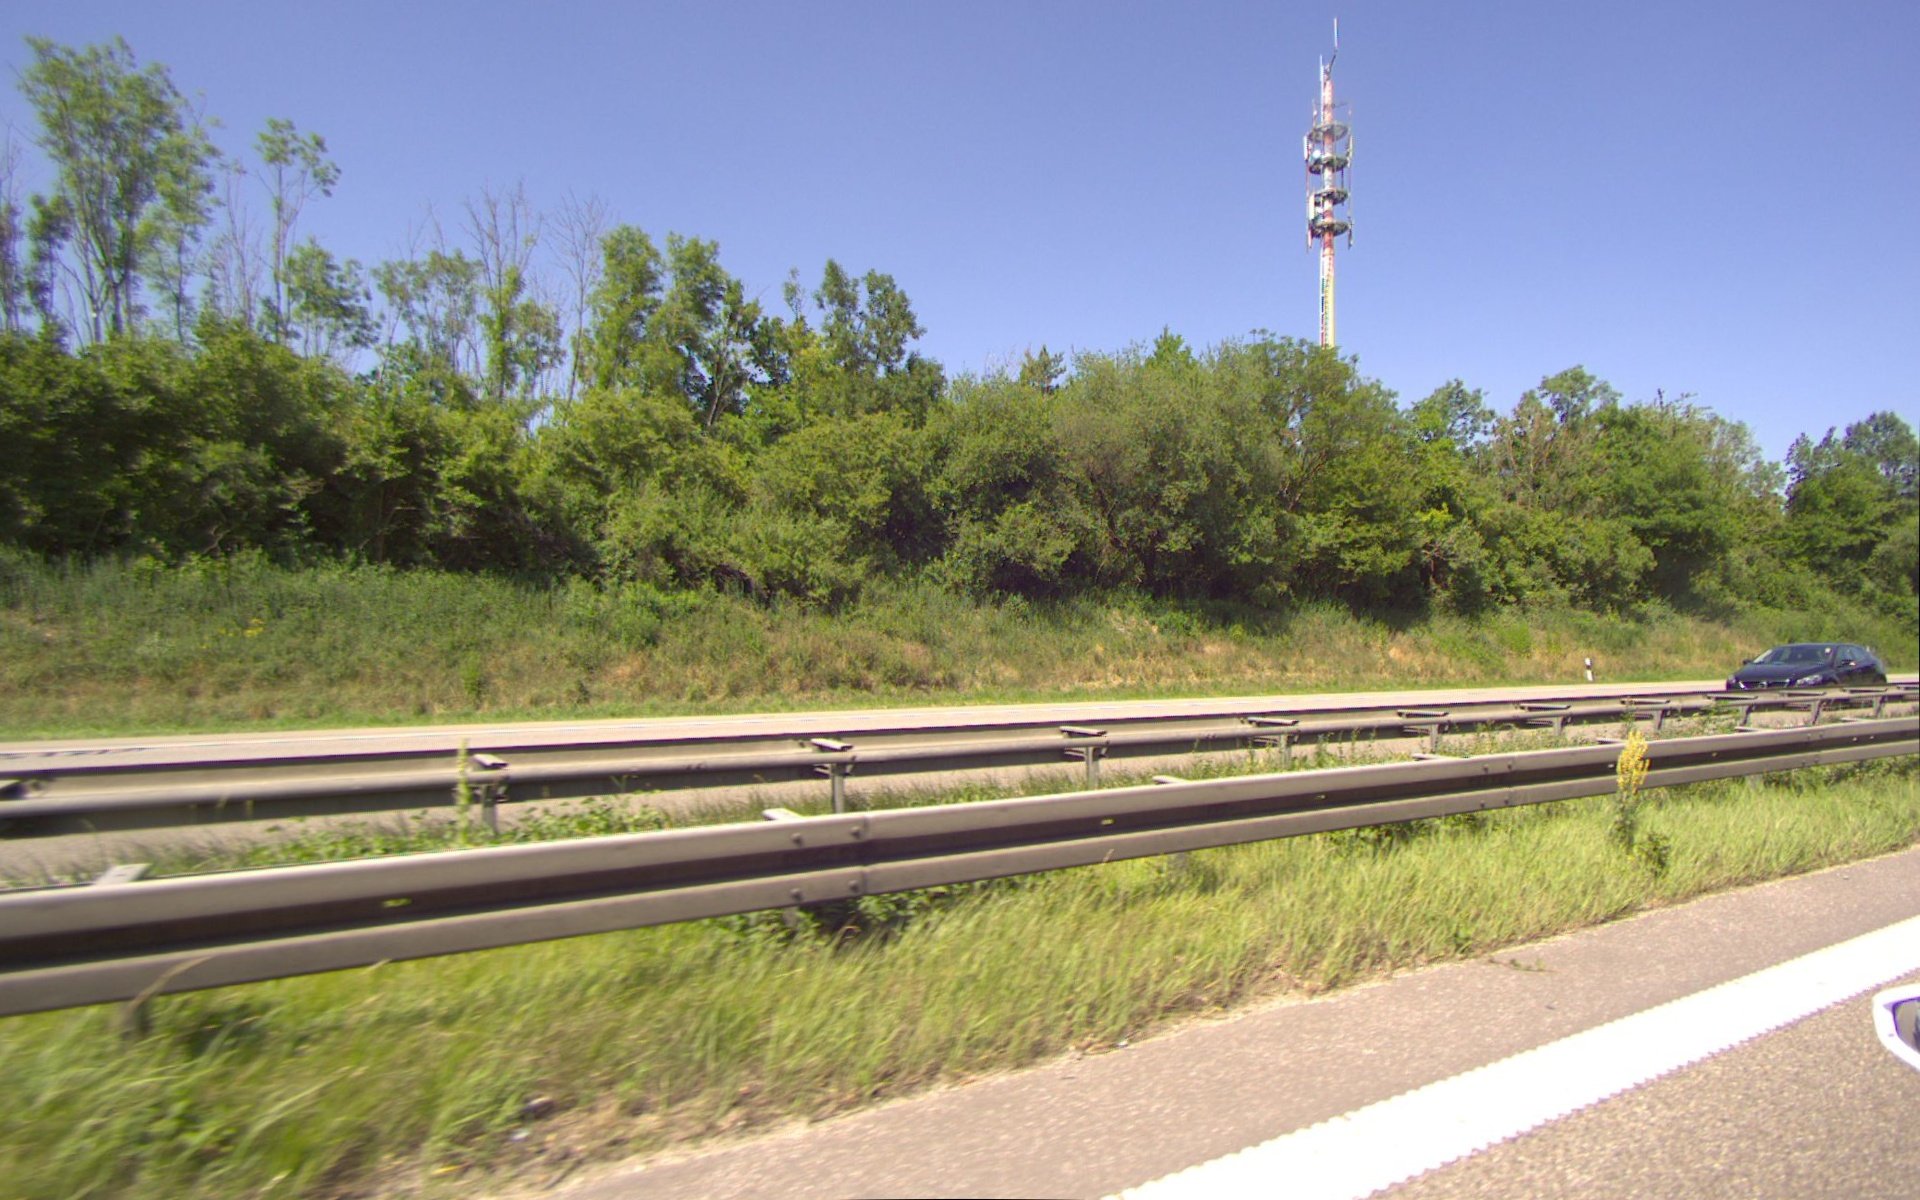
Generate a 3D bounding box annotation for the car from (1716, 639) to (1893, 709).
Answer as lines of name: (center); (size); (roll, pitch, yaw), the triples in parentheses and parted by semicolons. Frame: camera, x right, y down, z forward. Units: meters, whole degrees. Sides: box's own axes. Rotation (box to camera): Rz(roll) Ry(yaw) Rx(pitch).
car: (18.625, 1.572, 22.124); (4.101, 1.416, 1.705); (1, -2, -30)
